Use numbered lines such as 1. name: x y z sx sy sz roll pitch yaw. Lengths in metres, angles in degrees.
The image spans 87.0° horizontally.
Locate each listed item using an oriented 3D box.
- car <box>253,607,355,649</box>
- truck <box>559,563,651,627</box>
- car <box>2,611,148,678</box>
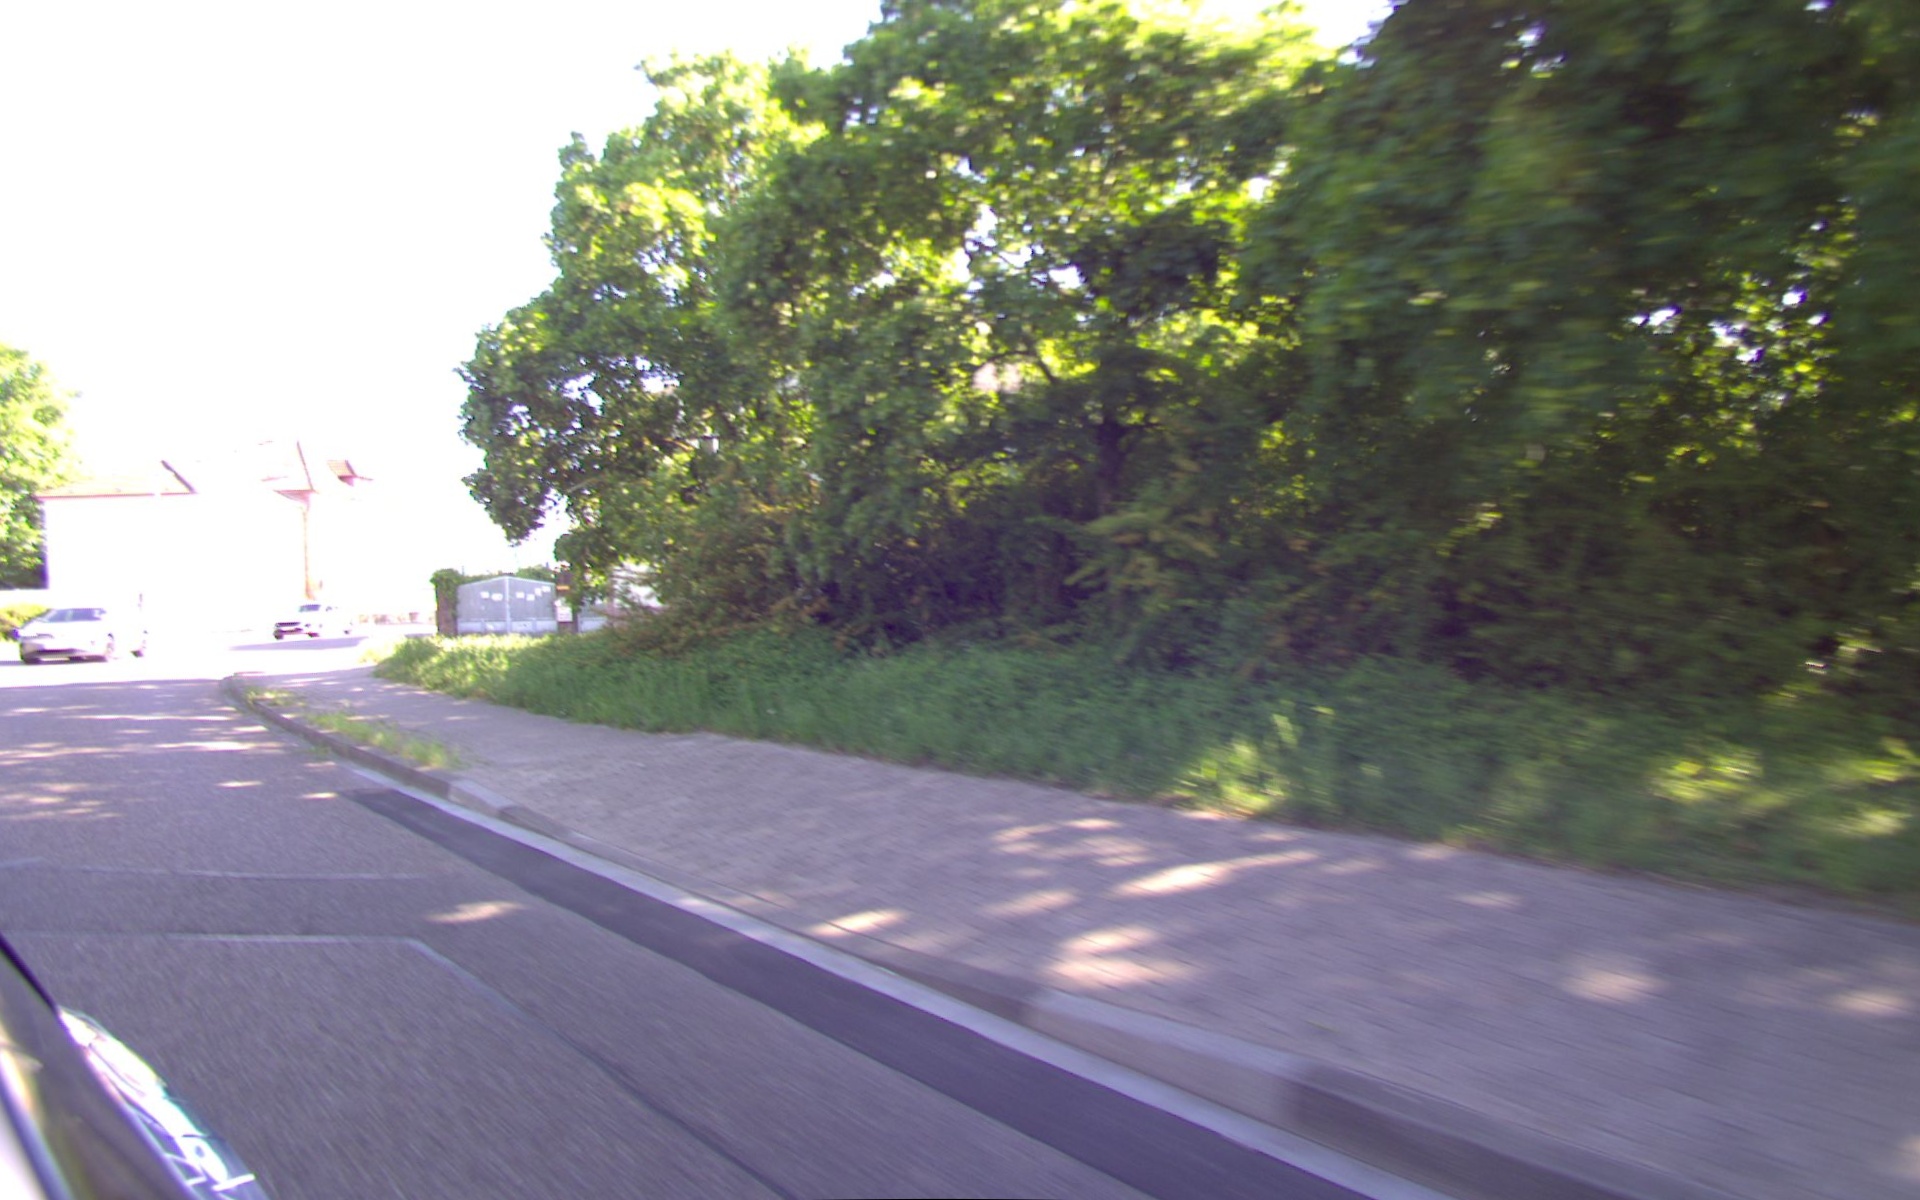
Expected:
1. car: -28.391 1.181 43.960 1.824 1.643 4.299 -1 0 -4
2. truck: -22.999 -0.351 66.127 2.812 3.646 8.006 -6 0 0
3. car: -24.310 1.159 27.994 1.819 1.643 4.309 -1 0 -24
